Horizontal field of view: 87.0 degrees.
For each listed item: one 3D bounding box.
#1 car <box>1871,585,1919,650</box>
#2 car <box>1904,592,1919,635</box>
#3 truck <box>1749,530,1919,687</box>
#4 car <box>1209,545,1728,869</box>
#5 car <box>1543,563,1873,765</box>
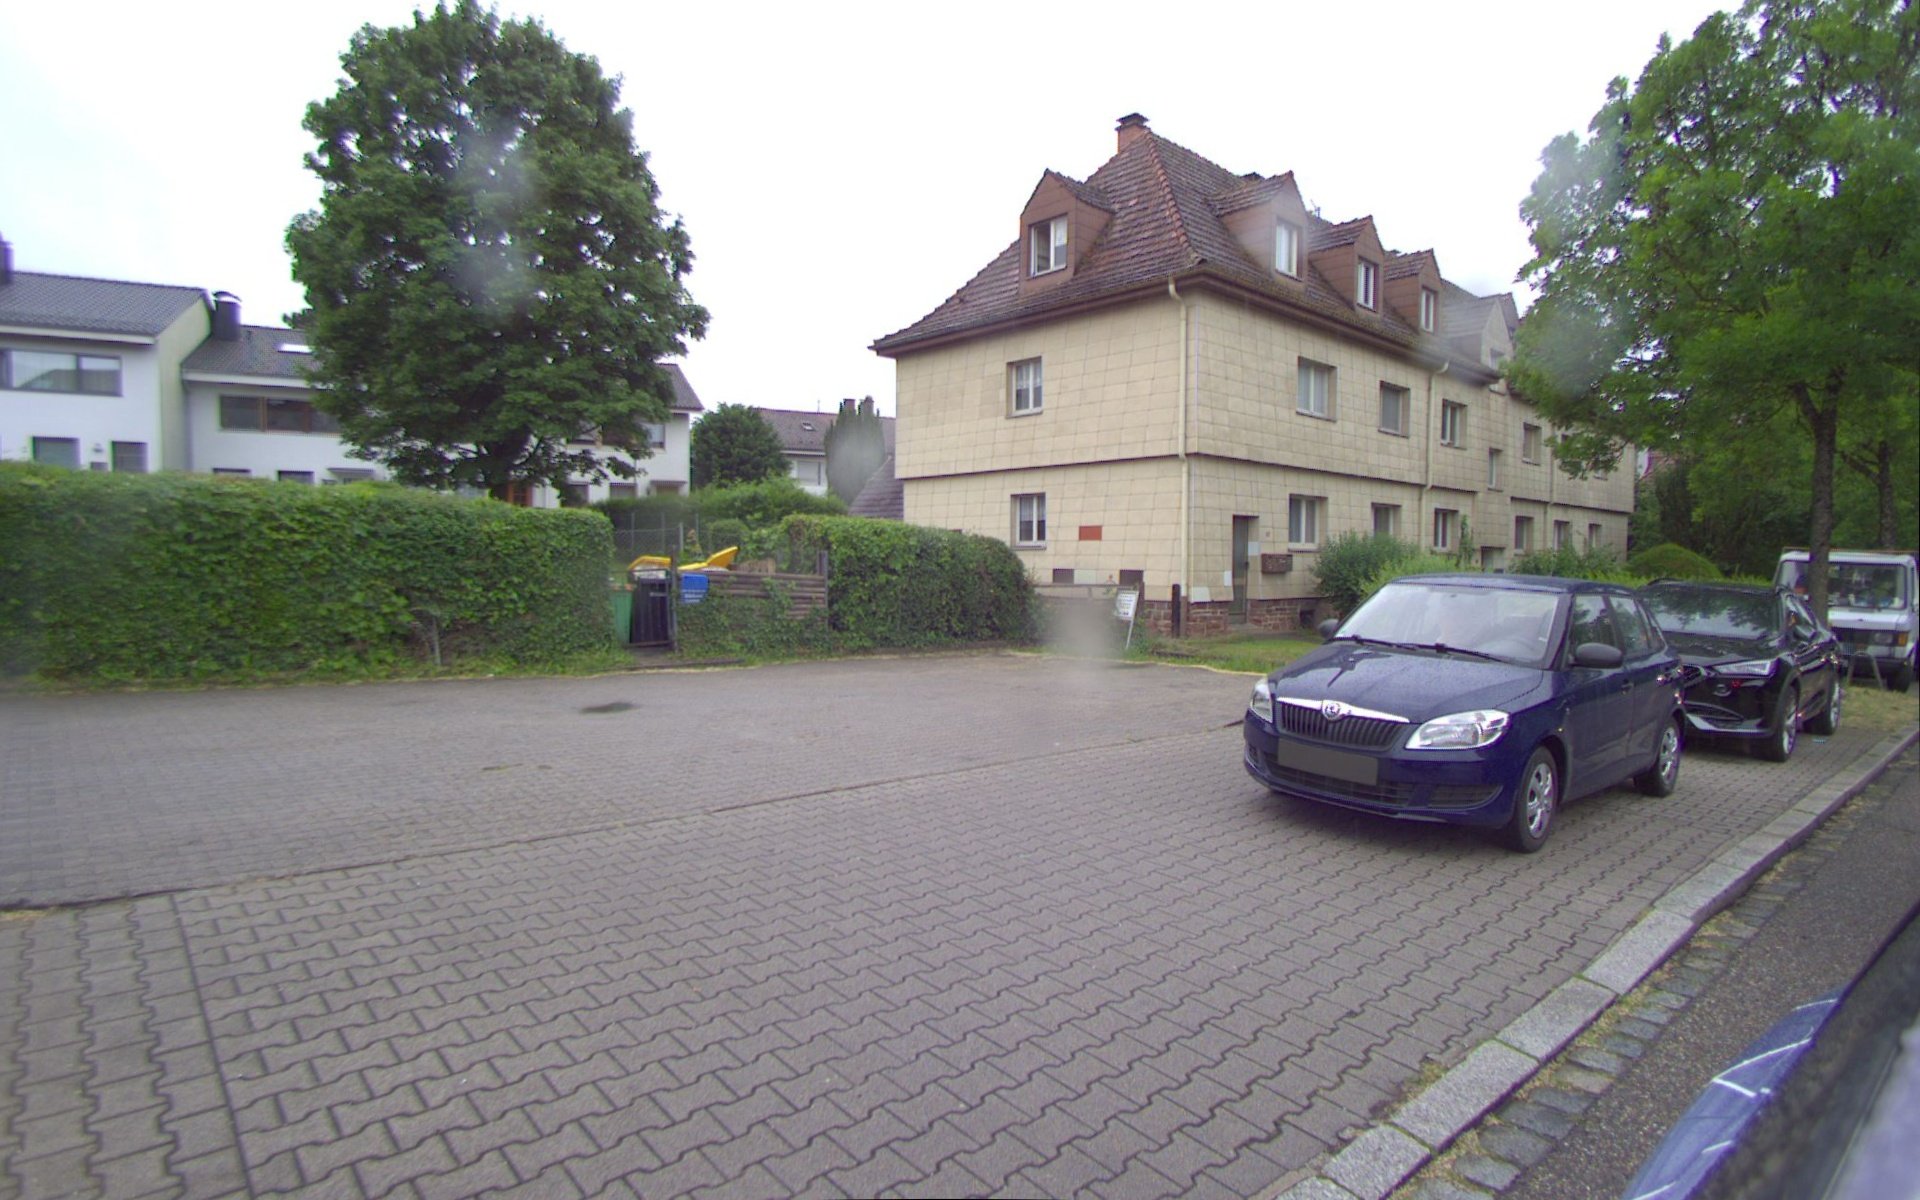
[{"bbox_3d":[23.962,0.532,25.039,3.951,1.454,1.605,4,2,-42],"label":"car"},{"bbox_3d":[33.569,0.495,34.470,4.423,1.406,1.691,0,4,-43],"label":"car"},{"bbox_3d":[15.863,0.074,17.757,6.392,2.248,2.084,0,4,-43],"label":"truck"},{"bbox_3d":[3.450,0.476,6.566,3.788,1.490,1.608,0,3,-40],"label":"car"},{"bbox_3d":[7.484,0.484,9.973,4.111,1.516,1.718,0,4,-42],"label":"car"}]
